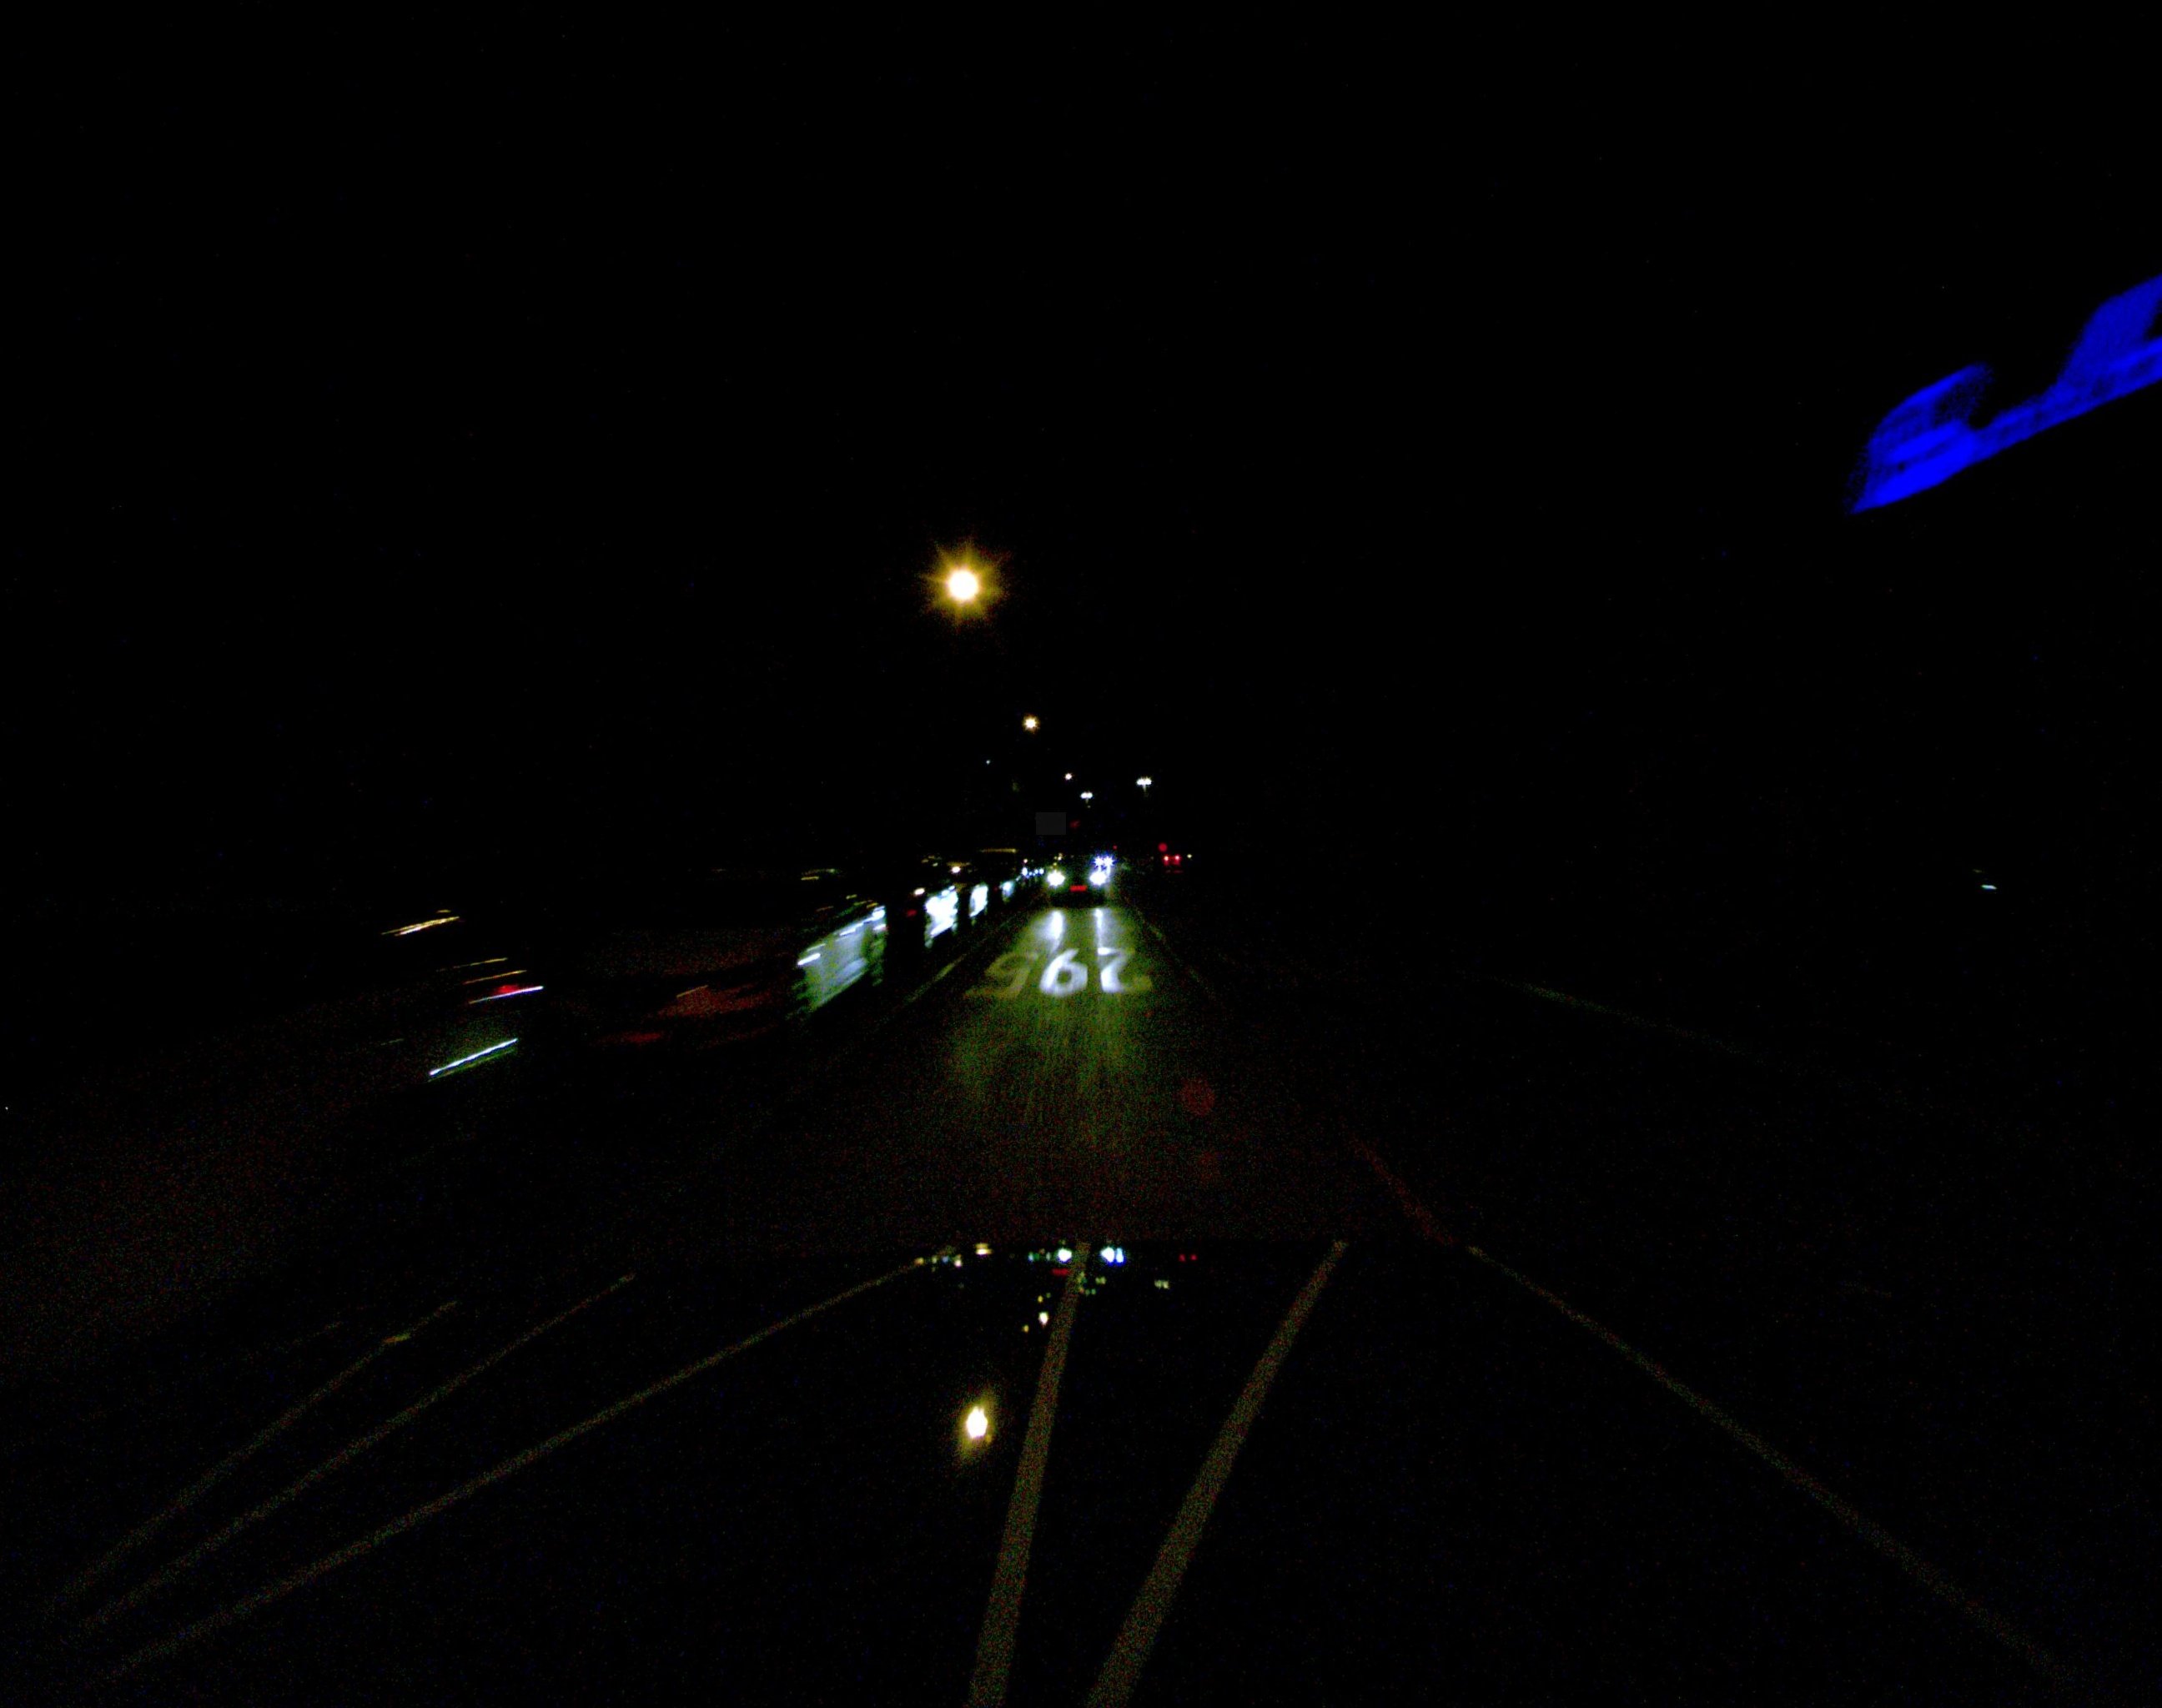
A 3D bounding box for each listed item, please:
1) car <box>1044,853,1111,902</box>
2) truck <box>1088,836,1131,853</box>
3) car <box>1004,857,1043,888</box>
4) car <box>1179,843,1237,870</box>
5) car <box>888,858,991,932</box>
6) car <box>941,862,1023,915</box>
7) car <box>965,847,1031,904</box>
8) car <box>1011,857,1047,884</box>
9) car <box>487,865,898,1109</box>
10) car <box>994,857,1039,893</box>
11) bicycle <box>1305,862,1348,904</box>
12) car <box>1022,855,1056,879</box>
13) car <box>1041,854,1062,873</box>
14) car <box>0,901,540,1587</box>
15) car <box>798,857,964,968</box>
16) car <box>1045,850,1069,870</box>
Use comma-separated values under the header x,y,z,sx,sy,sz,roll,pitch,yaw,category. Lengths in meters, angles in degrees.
x,y,z,sx,sy,sz,roll,pitch,yaw,category
-0.051,0.784,26.939,1.998,1.606,4.001,0,0,5,car
6.249,-2.047,167.748,9.340,3.701,2.002,-1,1,17,truck
-2.912,0.898,39.016,1.599,1.458,3.719,-1,1,1,car
9.228,0.159,55.268,3.993,1.878,1.911,-1,1,14,car
-3.274,0.882,18.475,1.828,1.579,4.627,0,0,-2,car
-2.917,0.991,23.190,1.821,1.419,4.189,1,0,2,car
-2.959,0.735,27.911,1.805,1.864,4.774,1,0,1,car
-2.946,0.942,43.993,1.783,1.418,3.891,-1,1,0,car
-3.221,0.953,7.518,1.779,1.535,4.545,-1,1,-1,car
-2.881,0.926,34.656,1.599,1.458,3.891,-1,1,1,car
6.652,0.758,20.654,0.621,1.045,1.722,-1,1,2,bicycle
-2.718,0.851,50.206,1.783,1.418,4.481,-1,1,2,car
-2.696,0.857,69.756,1.824,1.590,4.219,2,1,-1,car
-3.471,1.003,1.312,1.865,1.480,4.545,-1,1,-1,car
-3.274,0.868,13.361,1.828,1.613,4.457,0,0,-1,car
-2.345,0.582,75.315,2.077,1.917,5.370,1,1,1,car
